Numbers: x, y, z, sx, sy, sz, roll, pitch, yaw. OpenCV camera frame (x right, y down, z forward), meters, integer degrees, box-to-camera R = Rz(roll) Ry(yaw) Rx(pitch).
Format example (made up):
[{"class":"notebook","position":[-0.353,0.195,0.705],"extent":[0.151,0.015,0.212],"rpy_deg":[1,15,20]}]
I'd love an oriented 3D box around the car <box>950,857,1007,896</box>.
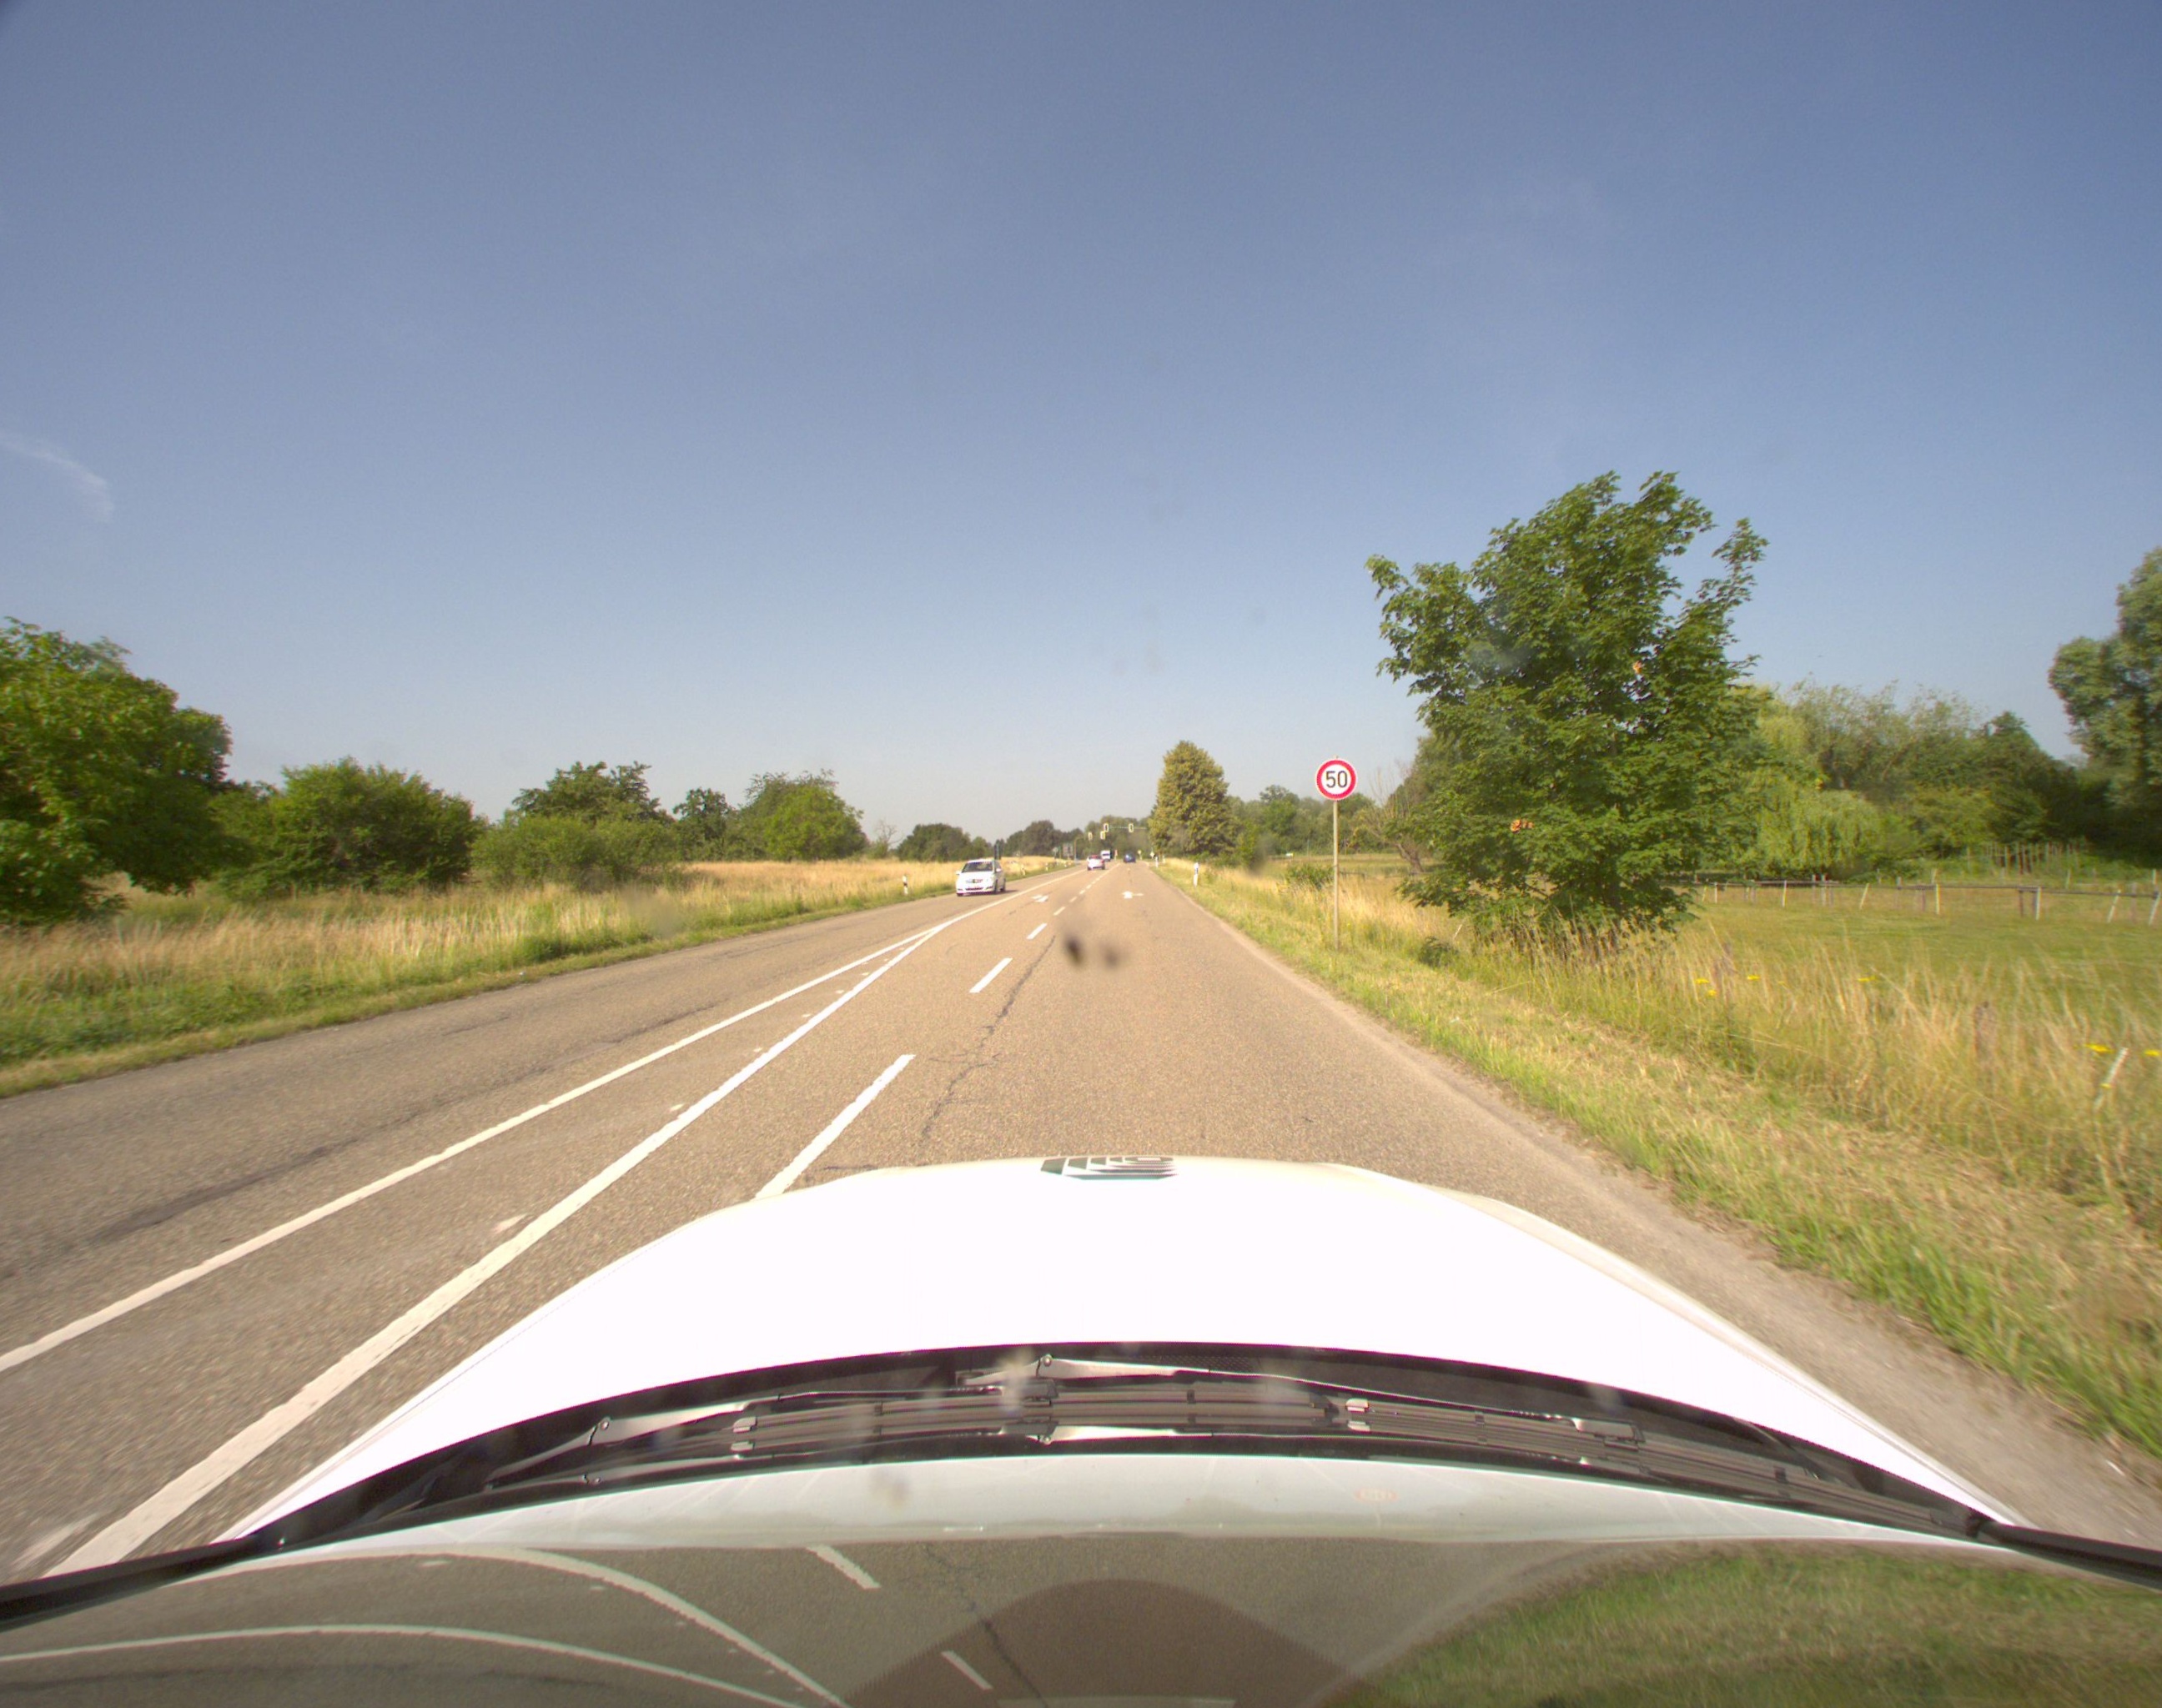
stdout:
[{"class":"car","position":[-4.587,0.971,37.129],"extent":[1.805,1.585,4.227],"rpy_deg":[-3,0,2]}]

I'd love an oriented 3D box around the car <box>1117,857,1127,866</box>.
[{"class":"car","position":[8.122,1.419,161.652],"extent":[1.985,1.816,4.003],"rpy_deg":[0,0,3]}]

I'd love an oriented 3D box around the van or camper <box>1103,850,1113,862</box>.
[{"class":"van or camper","position":[6.549,0.431,196.242],"extent":[2.254,2.709,5.268],"rpy_deg":[0,0,4]}]

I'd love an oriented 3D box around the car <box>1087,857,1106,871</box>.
[{"class":"car","position":[1.719,1.077,89.566],"extent":[1.891,1.512,4.003],"rpy_deg":[0,0,3]}]

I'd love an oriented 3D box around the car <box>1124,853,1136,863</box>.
[{"class":"car","position":[8.248,0.643,136.694],"extent":[1.808,1.520,4.004],"rpy_deg":[-2,0,3]}]
